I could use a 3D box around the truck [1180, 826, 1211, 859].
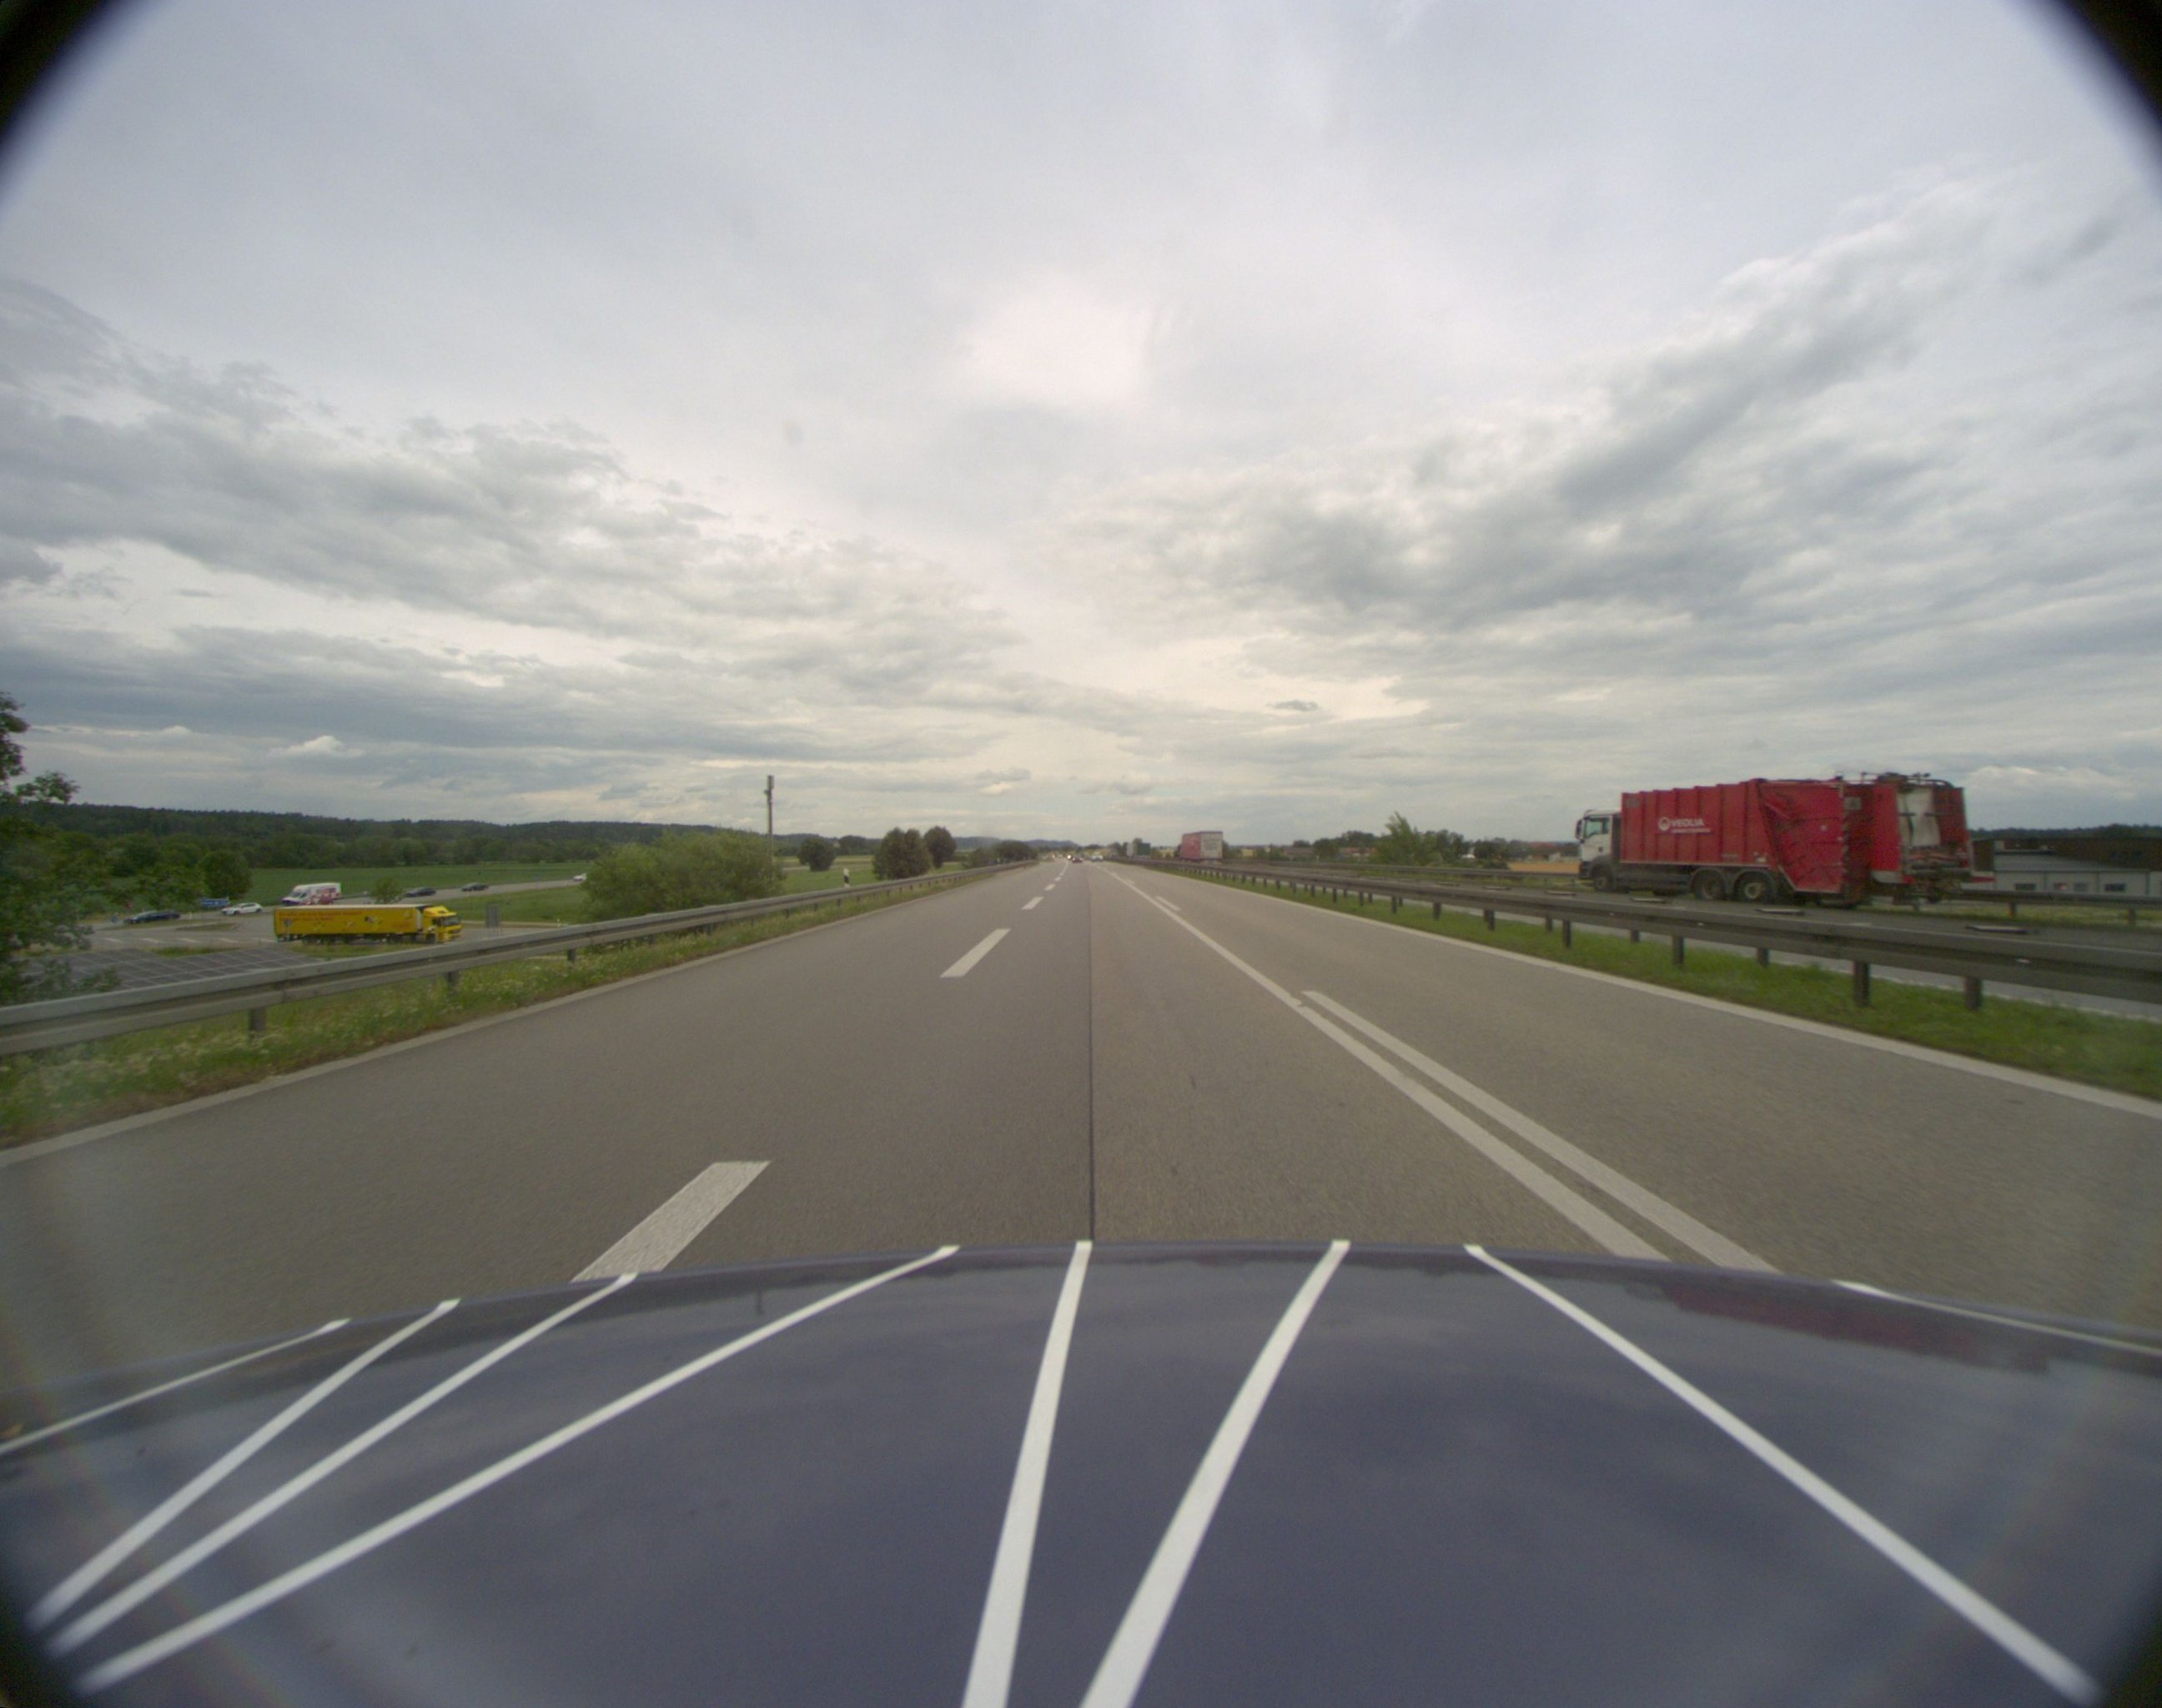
[{"bbox_3d":[14.651,-1.475,97.621,2.917,3.924,6.324,-2,1,0],"label":"truck"}]

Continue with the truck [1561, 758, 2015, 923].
[{"bbox_3d":[18.793,-0.336,21.993,2.675,3.516,11.076,1,1,0],"label":"truck"}]

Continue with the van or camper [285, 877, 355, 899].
[{"bbox_3d":[-120.286,5.349,120.240,2.798,2.891,7.132,-5,0,13],"label":"van or camper"}]

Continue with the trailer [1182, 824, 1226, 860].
[{"bbox_3d":[14.633,-1.403,91.691,2.916,3.918,13.975,-2,1,0],"label":"trailer"}]

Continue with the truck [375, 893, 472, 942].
[{"bbox_3d":[-68.002,6.508,78.677,7.137,4.760,3.018,-1,0,-3],"label":"truck"}]

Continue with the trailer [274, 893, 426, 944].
[{"bbox_3d":[-75.144,6.588,78.291,12.303,4.760,3.018,-1,0,-3],"label":"trailer"}]

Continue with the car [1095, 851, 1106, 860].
[{"bbox_3d":[3.582,0.252,136.711,1.850,1.665,4.200,1,0,3],"label":"car"}]

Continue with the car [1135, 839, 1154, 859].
[{"bbox_3d":[10.834,-0.883,130.390,2.545,3.253,7.208,-2,1,0],"label":"car"}]

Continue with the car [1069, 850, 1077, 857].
[{"bbox_3d":[-2.151,-0.187,195.912,1.850,1.655,4.001,1,0,3],"label":"car"}]

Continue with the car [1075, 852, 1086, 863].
[{"bbox_3d":[-0.026,0.597,130.436,1.850,1.850,4.000,1,0,0],"label":"car"}]

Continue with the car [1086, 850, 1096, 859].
[{"bbox_3d":[2.255,0.145,175.757,1.998,2.002,4.001,-2,1,4],"label":"car"}]

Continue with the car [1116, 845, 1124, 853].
[{"bbox_3d":[9.616,-1.291,188.878,1.850,1.850,4.000,1,0,0],"label":"car"}]

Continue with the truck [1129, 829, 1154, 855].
[{"bbox_3d":[13.795,-2.718,174.359,4.333,5.528,14.037,-2,1,0],"label":"truck"}]
